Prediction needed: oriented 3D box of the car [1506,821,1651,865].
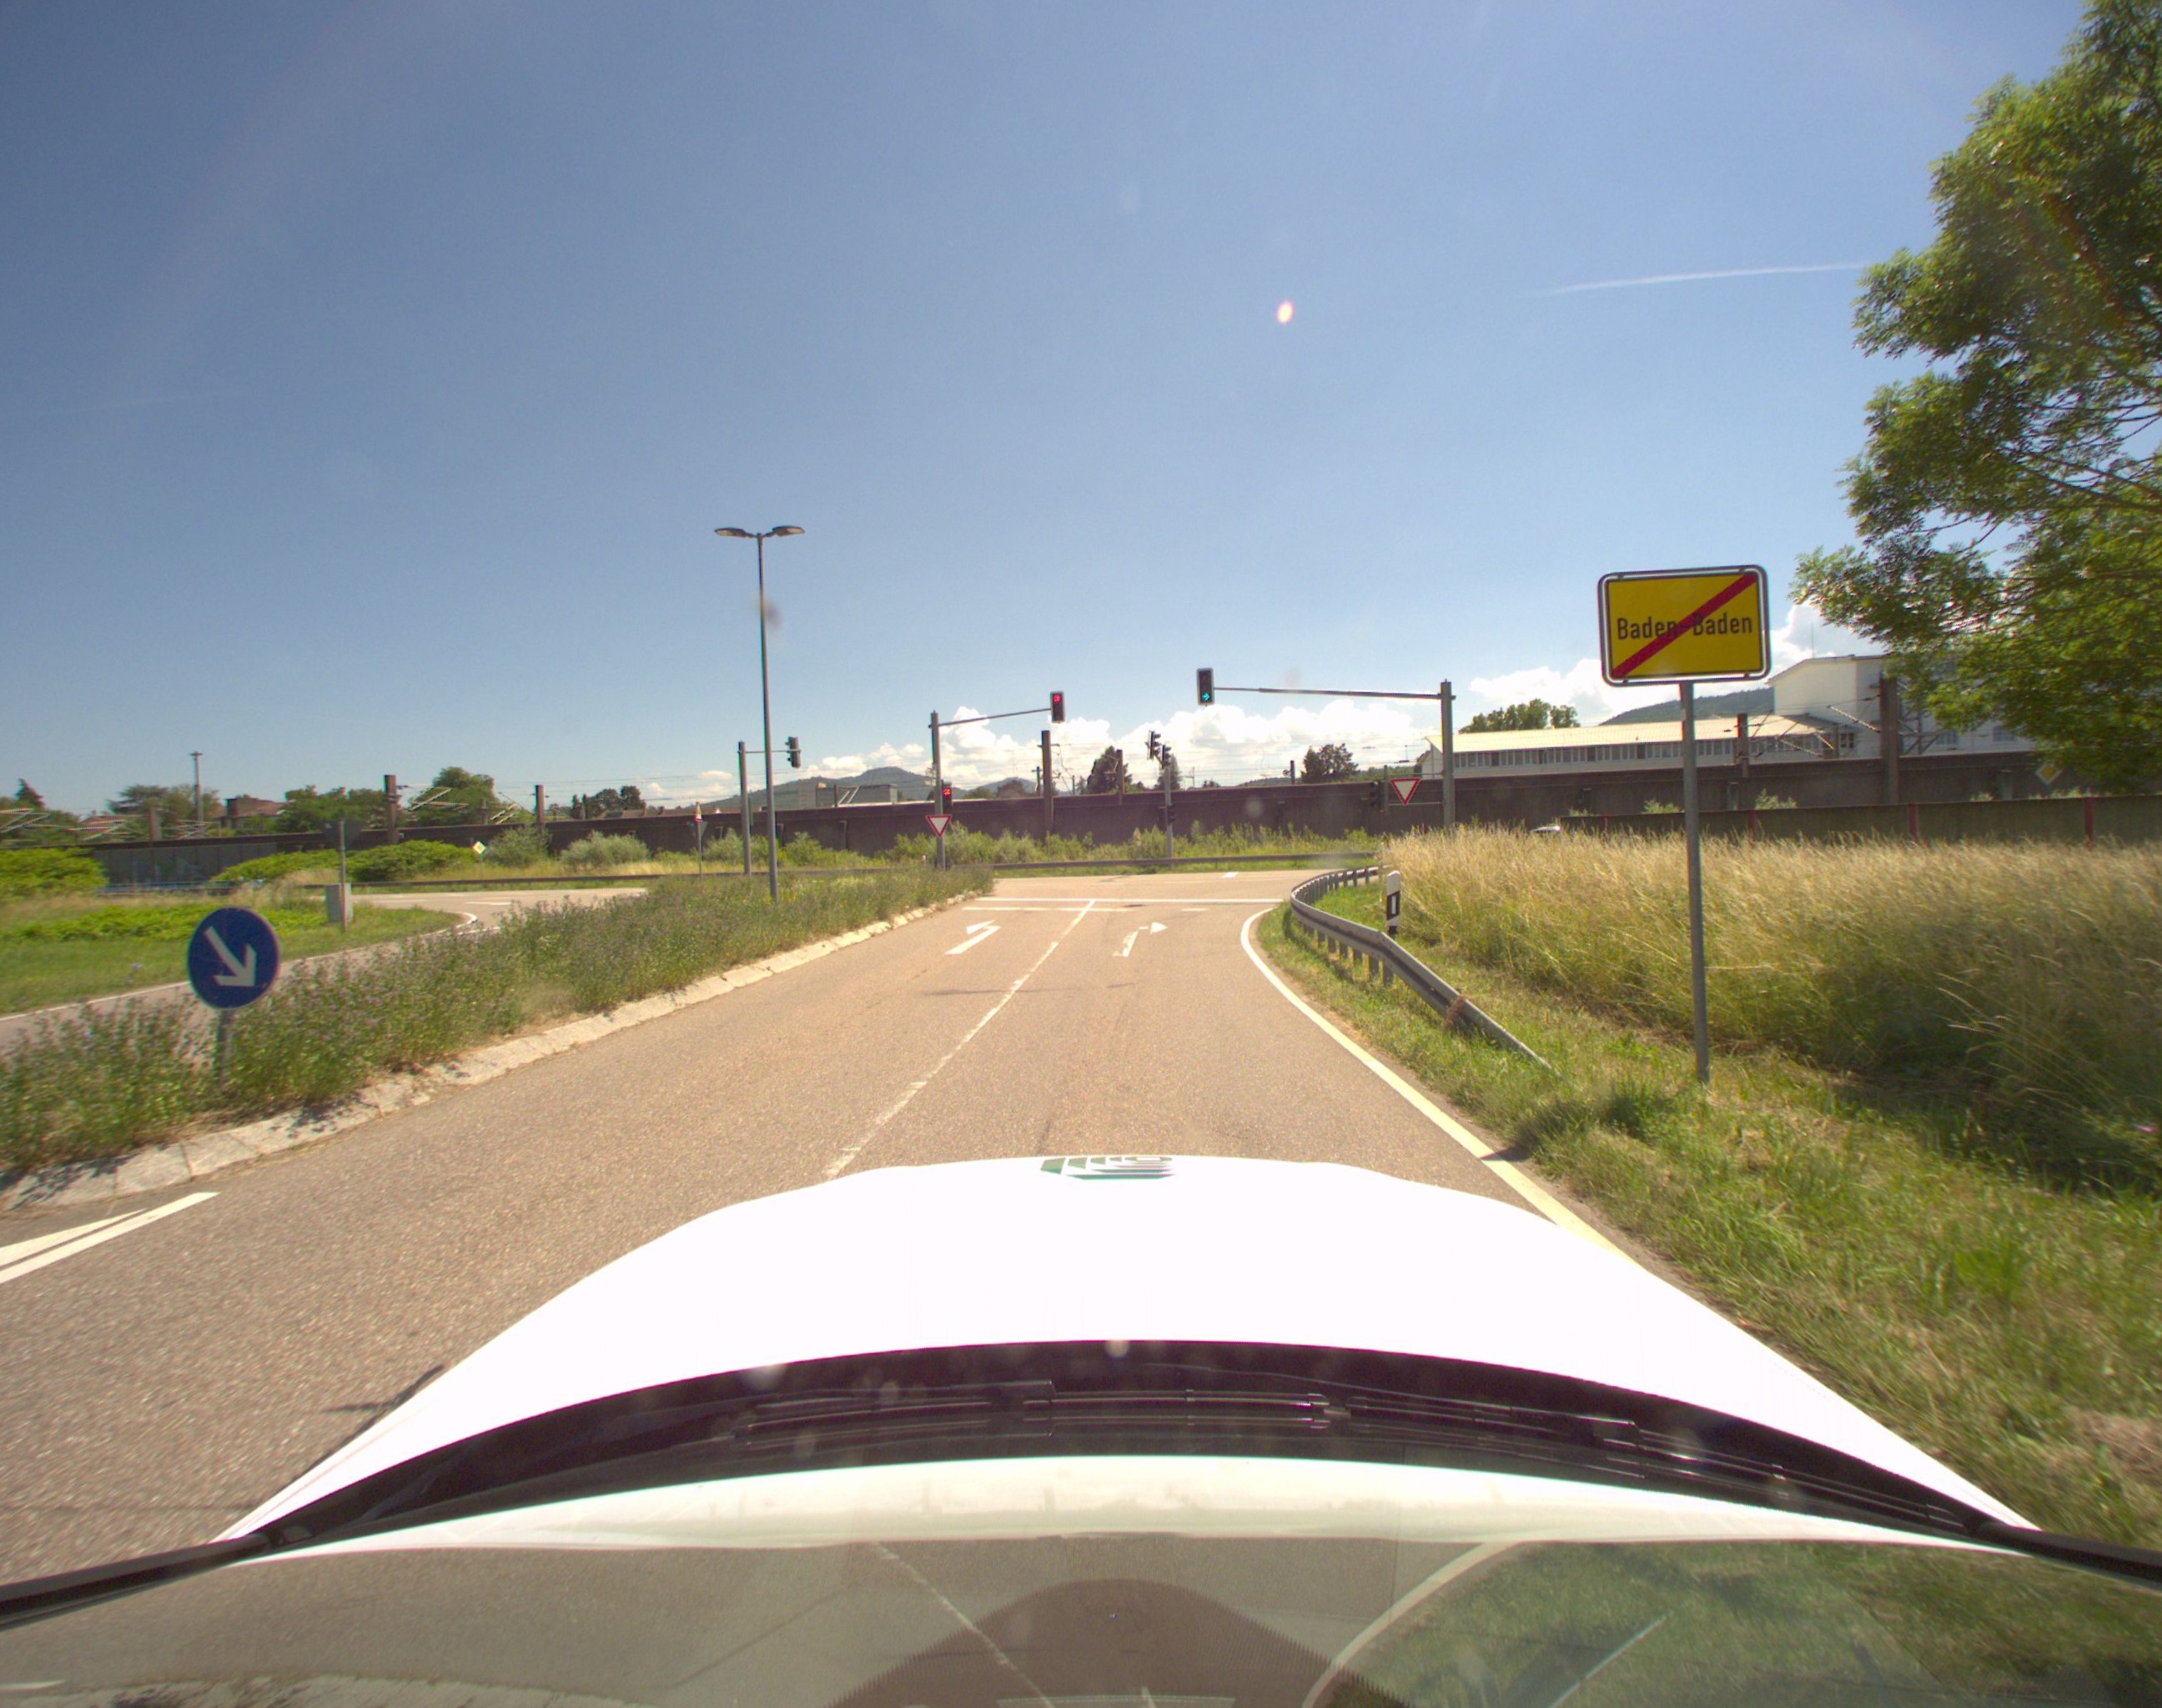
[{"bbox_3d":[17.659,-0.398,29.074,3.964,1.503,2.005,0,1,8],"label":"car"}]
